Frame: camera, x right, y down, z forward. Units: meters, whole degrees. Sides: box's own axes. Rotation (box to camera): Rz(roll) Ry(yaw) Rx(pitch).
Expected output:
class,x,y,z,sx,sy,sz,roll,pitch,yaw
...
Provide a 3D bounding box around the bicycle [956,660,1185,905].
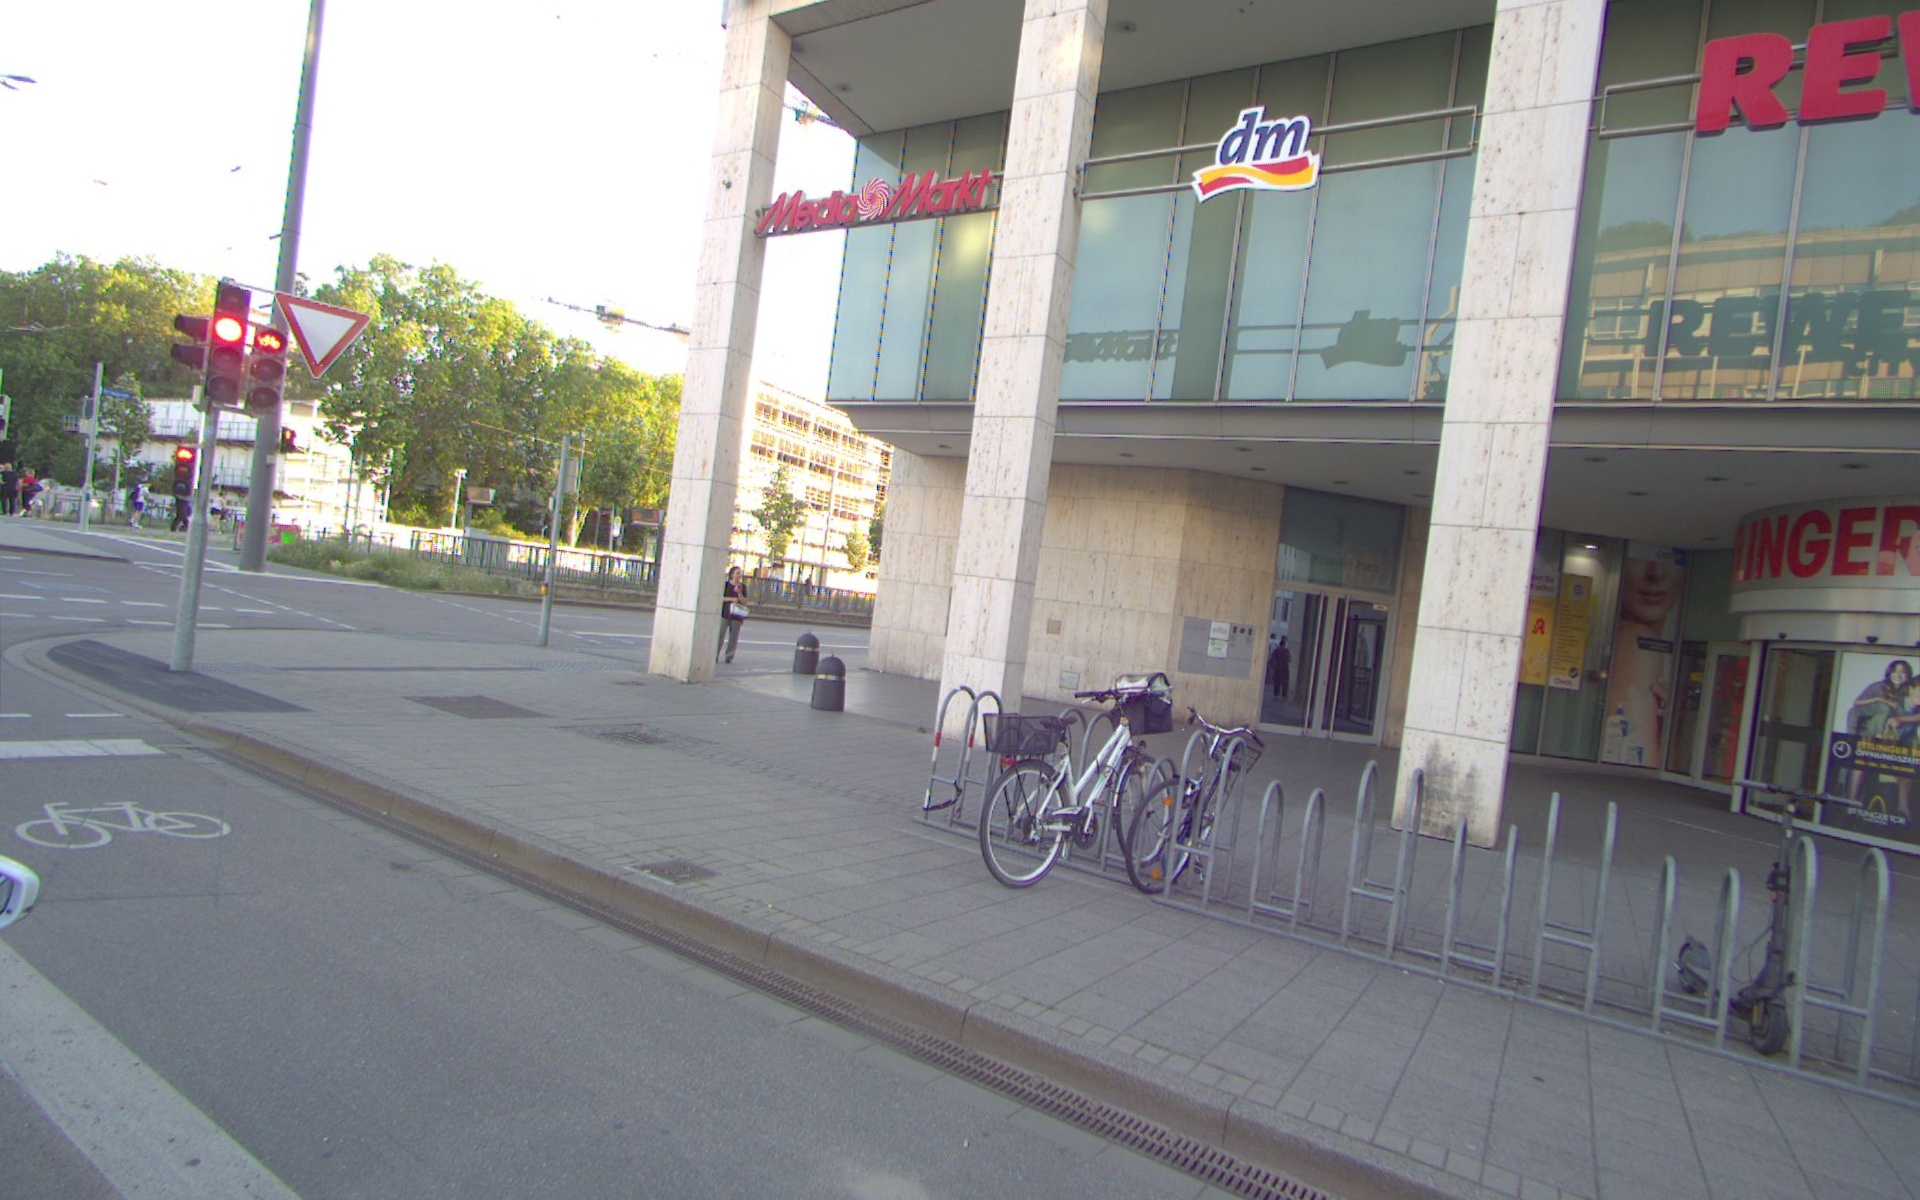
class,x,y,z,sx,sy,sz,roll,pitch,yaw
bicycle,0.700,1.008,5.925,0.540,1.198,1.479,8,1,36

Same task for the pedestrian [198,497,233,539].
class,x,y,z,sx,sy,sz,roll,pitch,yaw
pedestrian,-28.173,-3.103,38.077,0.665,1.459,0.714,7,1,20

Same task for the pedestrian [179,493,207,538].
class,x,y,z,sx,sy,sz,roll,pitch,yaw
pedestrian,-29.426,-3.249,38.584,0.527,1.612,0.571,8,1,32

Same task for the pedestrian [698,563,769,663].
class,x,y,z,sx,sy,sz,roll,pitch,yaw
pedestrian,-4.040,0.244,17.944,0.696,1.659,0.791,8,1,34

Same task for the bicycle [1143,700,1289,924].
class,x,y,z,sx,sy,sz,roll,pitch,yaw
bicycle,1.674,1.241,6.373,0.474,1.092,1.773,8,0,24

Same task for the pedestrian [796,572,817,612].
class,x,y,z,sx,sy,sz,roll,pitch,yaw
pedestrian,-8.174,-0.416,53.692,0.631,2.039,0.626,8,1,28

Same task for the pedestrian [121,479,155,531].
class,x,y,z,sx,sy,sz,roll,pitch,yaw
pedestrian,-29.634,-3.418,36.267,0.702,1.746,0.666,8,1,35

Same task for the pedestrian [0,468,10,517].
class,x,y,z,sx,sy,sz,roll,pitch,yaw
pedestrian,-34.043,-3.822,35.519,0.570,1.699,0.631,7,1,-44

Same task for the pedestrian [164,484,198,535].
class,x,y,z,sx,sy,sz,roll,pitch,yaw
pedestrian,-28.294,-3.278,36.546,0.702,1.746,0.666,8,1,37

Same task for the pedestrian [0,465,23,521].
class,x,y,z,sx,sy,sz,roll,pitch,yaw
pedestrian,-32.848,-3.686,34.584,0.803,1.814,0.790,7,1,-44

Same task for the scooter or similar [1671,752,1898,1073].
class,x,y,z,sx,sy,sz,roll,pitch,yaw
scooter or similar,3.987,1.439,4.956,0.484,1.214,1.196,8,1,27

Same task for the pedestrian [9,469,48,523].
class,x,y,z,sx,sy,sz,roll,pitch,yaw
pedestrian,-32.780,-3.645,35.405,0.696,1.756,0.843,8,1,44

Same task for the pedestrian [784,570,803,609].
class,x,y,z,sx,sy,sz,roll,pitch,yaw
pedestrian,-8.904,-0.554,53.890,0.559,2.039,0.575,8,1,28
